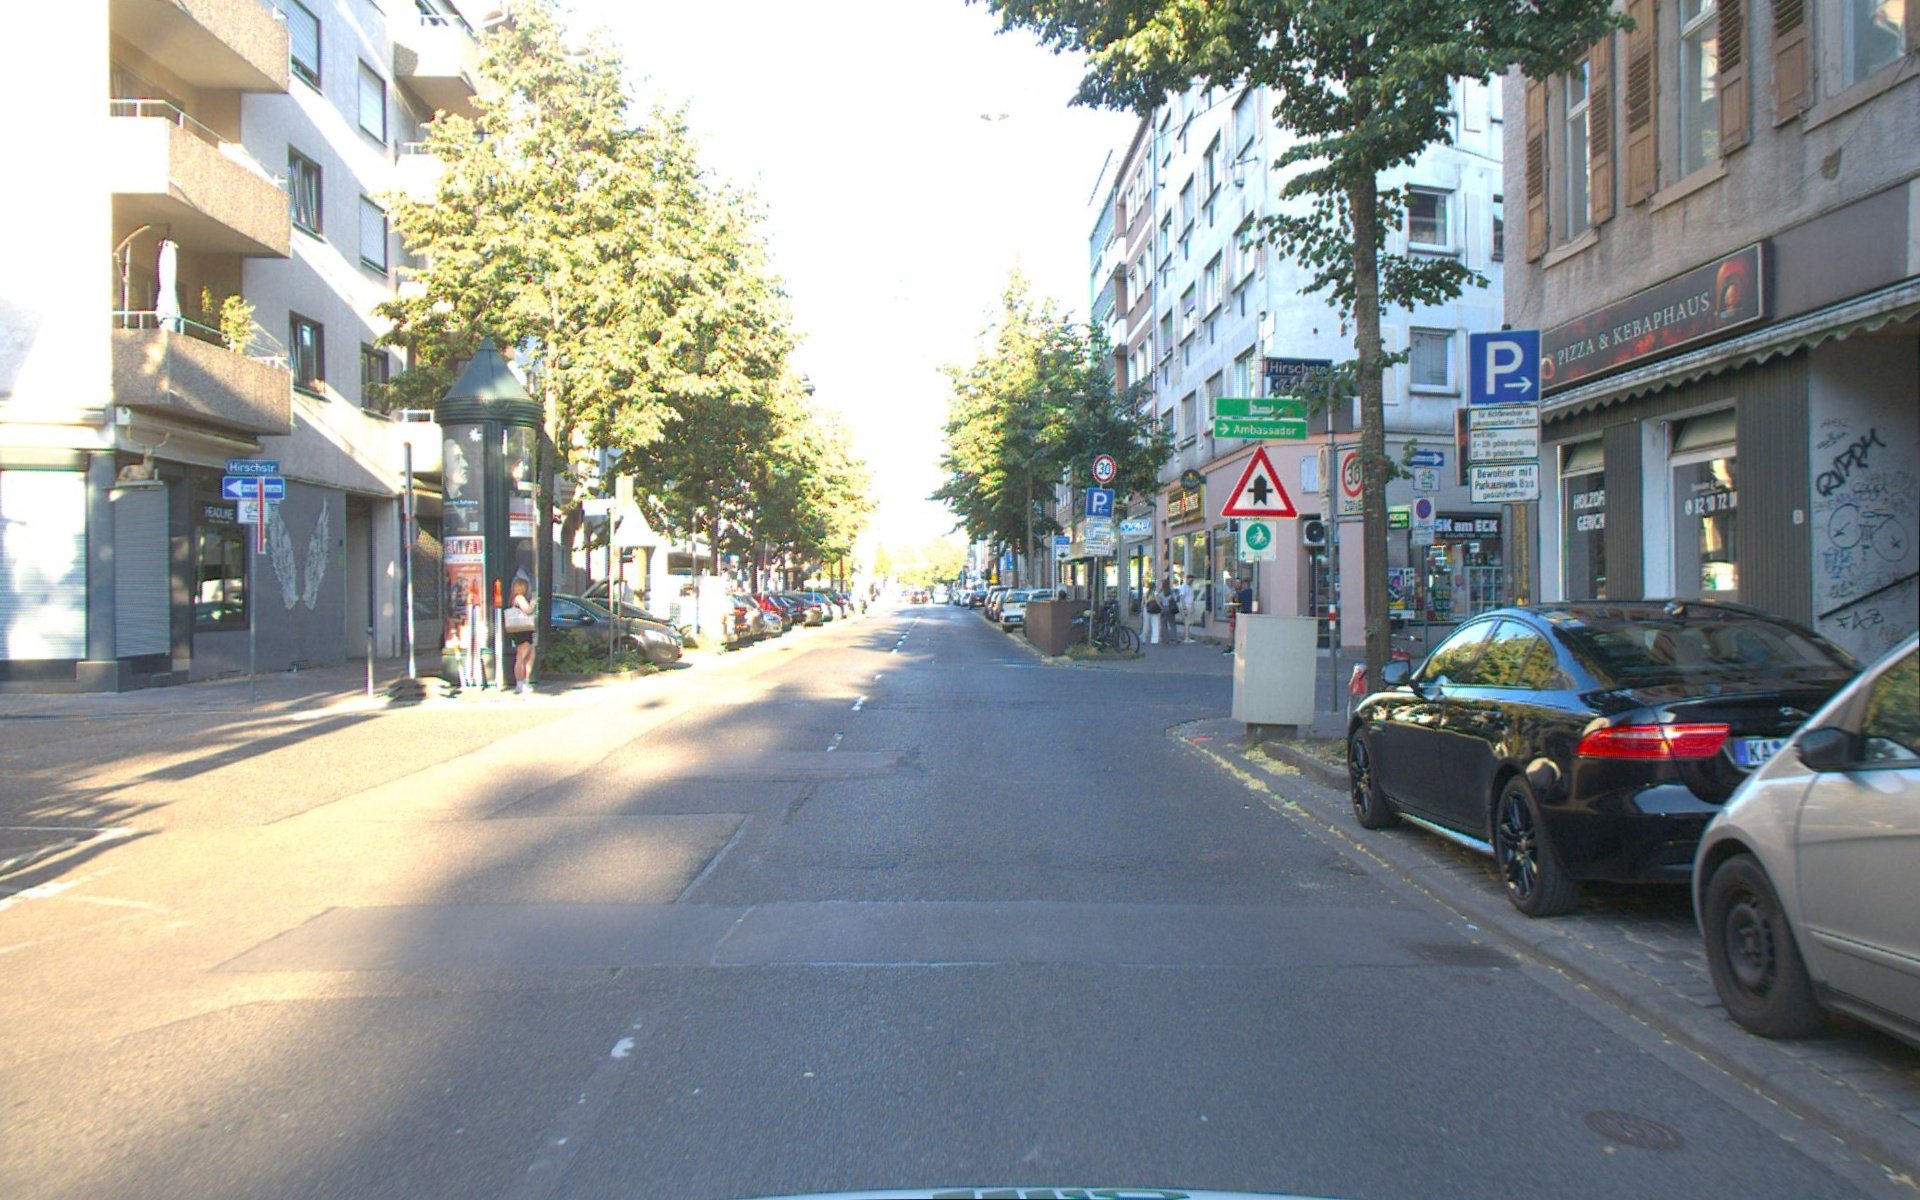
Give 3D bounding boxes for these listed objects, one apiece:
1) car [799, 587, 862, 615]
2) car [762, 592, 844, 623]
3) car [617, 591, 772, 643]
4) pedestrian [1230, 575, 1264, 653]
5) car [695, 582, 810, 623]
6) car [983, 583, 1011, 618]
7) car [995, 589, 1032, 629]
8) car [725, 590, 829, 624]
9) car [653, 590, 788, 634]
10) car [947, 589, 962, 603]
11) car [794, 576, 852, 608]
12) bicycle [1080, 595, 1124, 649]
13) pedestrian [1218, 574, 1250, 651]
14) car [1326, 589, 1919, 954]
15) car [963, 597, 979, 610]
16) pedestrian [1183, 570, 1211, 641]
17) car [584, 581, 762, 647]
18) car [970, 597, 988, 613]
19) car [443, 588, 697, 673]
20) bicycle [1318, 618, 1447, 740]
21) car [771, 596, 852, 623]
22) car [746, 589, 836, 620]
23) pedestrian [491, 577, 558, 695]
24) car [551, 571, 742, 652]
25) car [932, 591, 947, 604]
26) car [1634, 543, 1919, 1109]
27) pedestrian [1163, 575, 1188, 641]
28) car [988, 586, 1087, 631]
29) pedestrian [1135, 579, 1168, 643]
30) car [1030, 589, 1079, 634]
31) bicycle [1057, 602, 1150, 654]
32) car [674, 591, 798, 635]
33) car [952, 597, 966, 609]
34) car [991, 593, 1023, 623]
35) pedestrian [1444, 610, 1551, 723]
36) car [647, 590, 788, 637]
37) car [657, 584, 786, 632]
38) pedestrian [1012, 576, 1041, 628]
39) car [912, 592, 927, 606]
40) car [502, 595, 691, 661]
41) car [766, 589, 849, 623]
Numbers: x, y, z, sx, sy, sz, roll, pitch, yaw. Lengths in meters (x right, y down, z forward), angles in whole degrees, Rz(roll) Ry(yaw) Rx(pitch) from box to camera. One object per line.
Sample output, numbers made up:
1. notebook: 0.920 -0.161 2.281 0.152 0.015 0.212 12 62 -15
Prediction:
1. car: -9.214 0.080 117.883 4.351 1.994 1.919 0 0 0
2. car: -8.361 0.393 88.284 4.216 1.626 1.919 0 0 0
3. car: -7.973 0.504 49.920 4.351 1.532 1.844 0 0 0
4. pedestrian: 6.142 0.292 35.377 0.555 1.611 0.663 -2 1 -1
5. car: -8.318 0.089 66.492 4.351 1.595 1.919 0 0 0
6. car: 2.060 0.021 92.757 1.482 1.897 4.235 0 0 1
7. car: 2.223 0.370 68.936 1.482 1.605 3.218 0 0 0
8. car: -8.054 0.303 73.017 4.351 1.474 1.919 0 0 0
9. car: -8.187 0.410 56.792 4.351 1.484 1.859 0 0 0
10. car: -0.636 -0.471 192.761 1.716 1.567 3.303 -1 0 0
11. car: -10.556 -0.599 127.800 4.351 2.477 1.919 0 0 0
12. bicycle: 3.248 0.482 37.623 0.585 1.198 1.847 0 0 18
13. pedestrian: 5.982 0.267 36.139 0.555 1.627 0.663 -2 1 -1
14. car: 3.451 0.688 9.073 1.749 1.399 4.523 -3 0 -1
15. car: 1.082 0.350 158.551 1.482 1.285 3.303 0 0 0
16. pedestrian: 6.162 0.140 43.015 0.683 1.836 0.892 0 0 7
17. car: -7.737 0.371 44.928 4.478 1.727 2.060 0 0 0
18. car: 1.588 0.436 140.371 1.482 1.298 3.303 0 0 0
19. car: -7.405 0.562 31.719 4.455 1.568 1.810 0 0 -2
20. bicycle: 4.234 0.762 16.734 0.762 1.131 1.899 -2 0 -1
21. car: -8.374 0.531 93.506 4.351 1.525 1.919 0 0 0
22. car: -8.541 0.240 83.882 4.351 1.549 1.919 0 0 0
23. pedestrian: -6.448 0.519 24.515 0.695 1.716 0.834 0 0 8
24. car: -7.918 0.284 42.075 4.479 1.996 1.990 0 0 -1
25. car: -2.500 -0.303 201.085 1.685 1.501 3.303 -1 0 0
26. car: 3.527 0.610 4.500 1.653 1.602 4.012 -3 0 -1
27. pedestrian: 5.589 0.205 42.911 0.617 1.709 0.892 0 0 8
28. car: 2.875 0.297 60.894 1.645 1.616 3.801 0 0 41
29. pedestrian: 4.977 0.284 42.992 0.779 1.654 0.913 0 0 12
30. car: 3.190 0.373 56.146 1.511 1.458 3.678 0 0 1
31. bicycle: 3.126 0.601 36.160 1.918 1.092 0.704 0 0 31
32. car: -8.318 0.472 61.776 4.351 1.595 1.919 0 0 0
33. car: -0.066 0.315 181.332 1.482 1.321 3.303 0 0 0
34. car: 2.300 0.381 81.007 1.482 1.430 3.837 0 0 0
35. pedestrian: 5.849 0.711 18.051 0.668 1.161 1.360 -2 -1 -1
36. car: -7.941 0.443 54.491 4.351 1.510 1.809 0 0 0
37. car: -8.544 0.292 59.543 4.351 1.667 1.859 0 0 0
38. pedestrian: 2.532 0.076 63.274 0.900 1.959 1.015 1 0 -11
39. car: -4.853 -0.126 200.298 1.716 1.567 3.303 -1 0 0
40. car: -8.110 0.625 37.161 3.712 1.416 2.044 0 -1 2
41. car: -8.312 0.333 90.387 4.351 1.790 1.919 0 0 0
